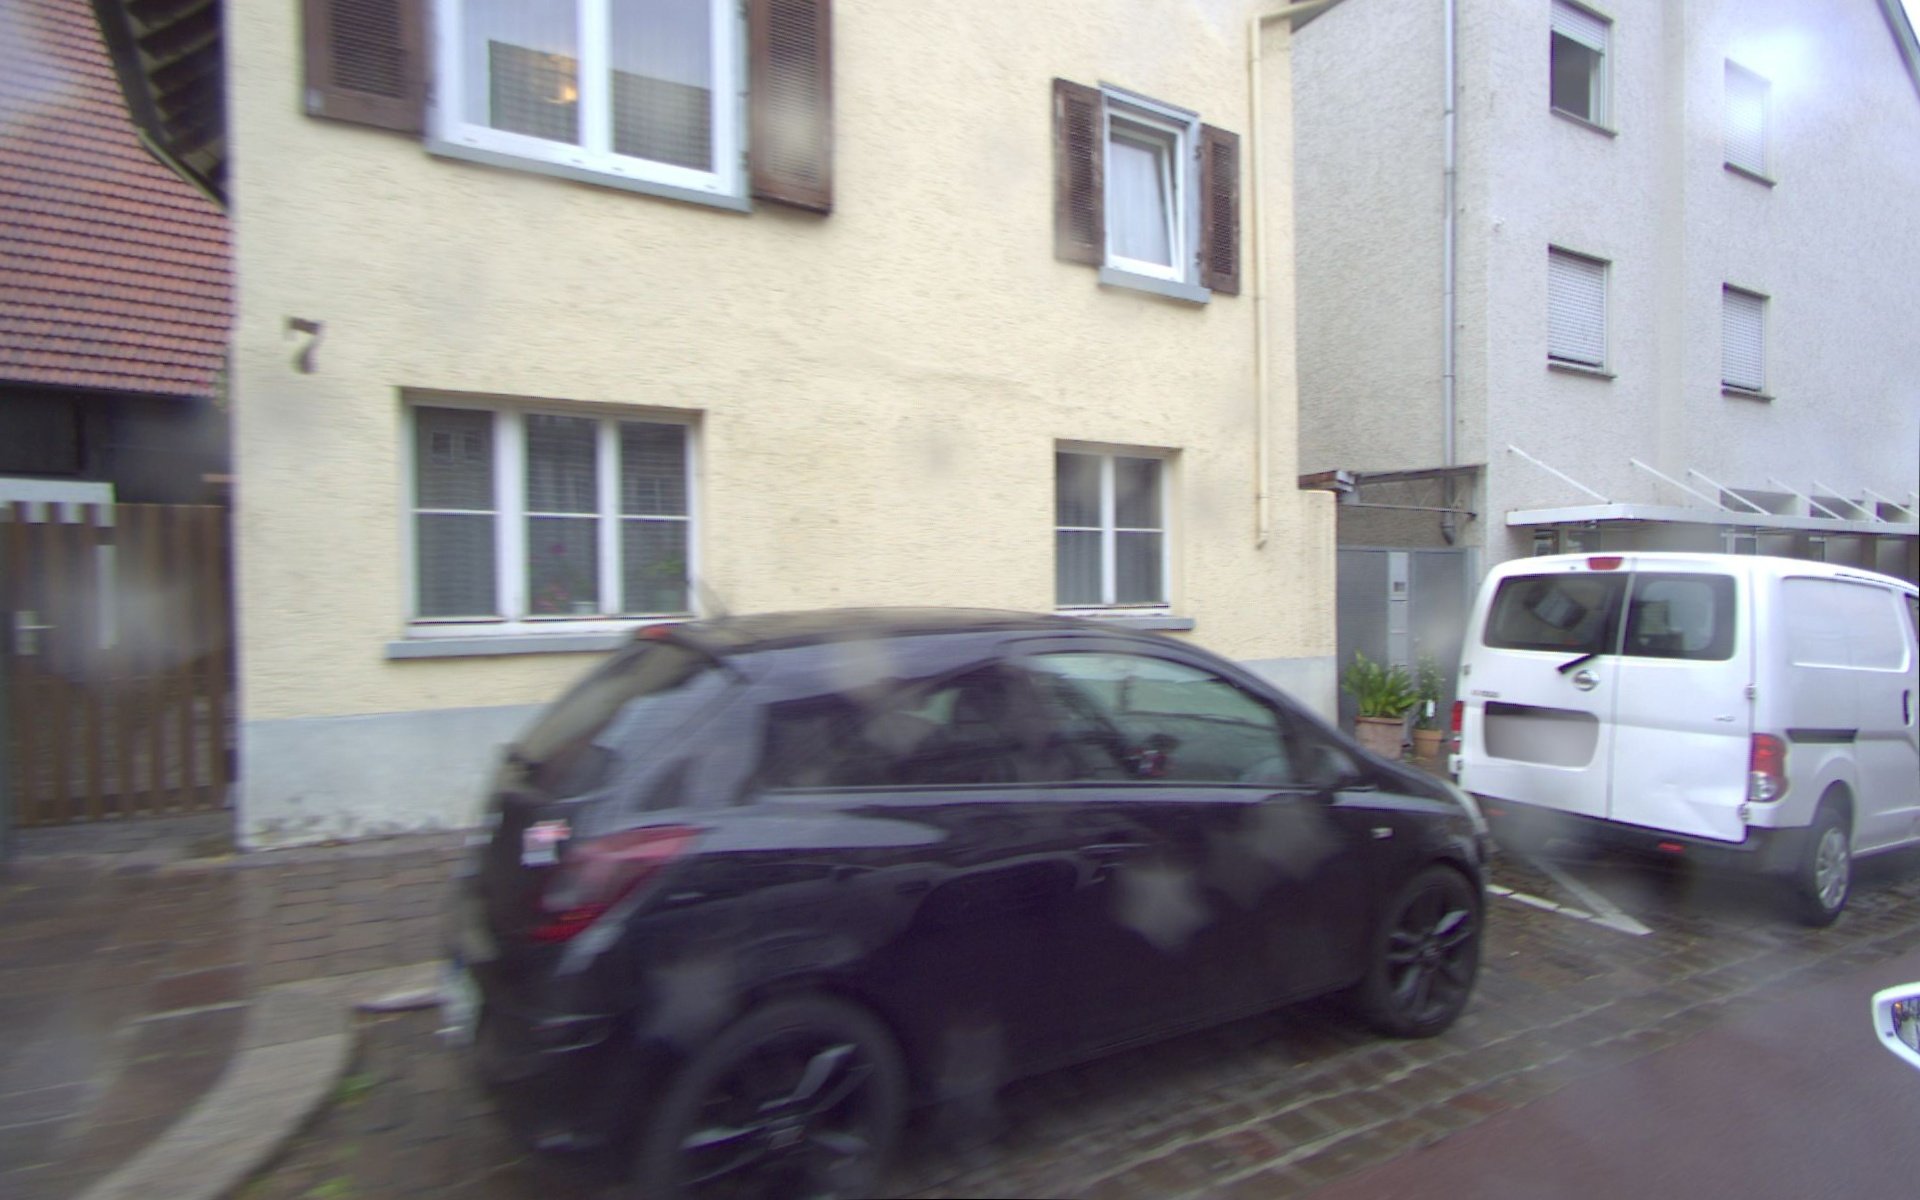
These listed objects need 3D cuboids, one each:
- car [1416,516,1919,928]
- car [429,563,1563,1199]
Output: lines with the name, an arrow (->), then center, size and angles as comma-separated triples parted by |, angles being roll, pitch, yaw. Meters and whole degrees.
car -> 5.020, 0.585, 6.415 | 4.380, 1.849, 1.713 | 2, 0, -33
car -> 0.325, 0.664, 3.591 | 3.785, 1.407, 1.670 | 2, 0, -34
